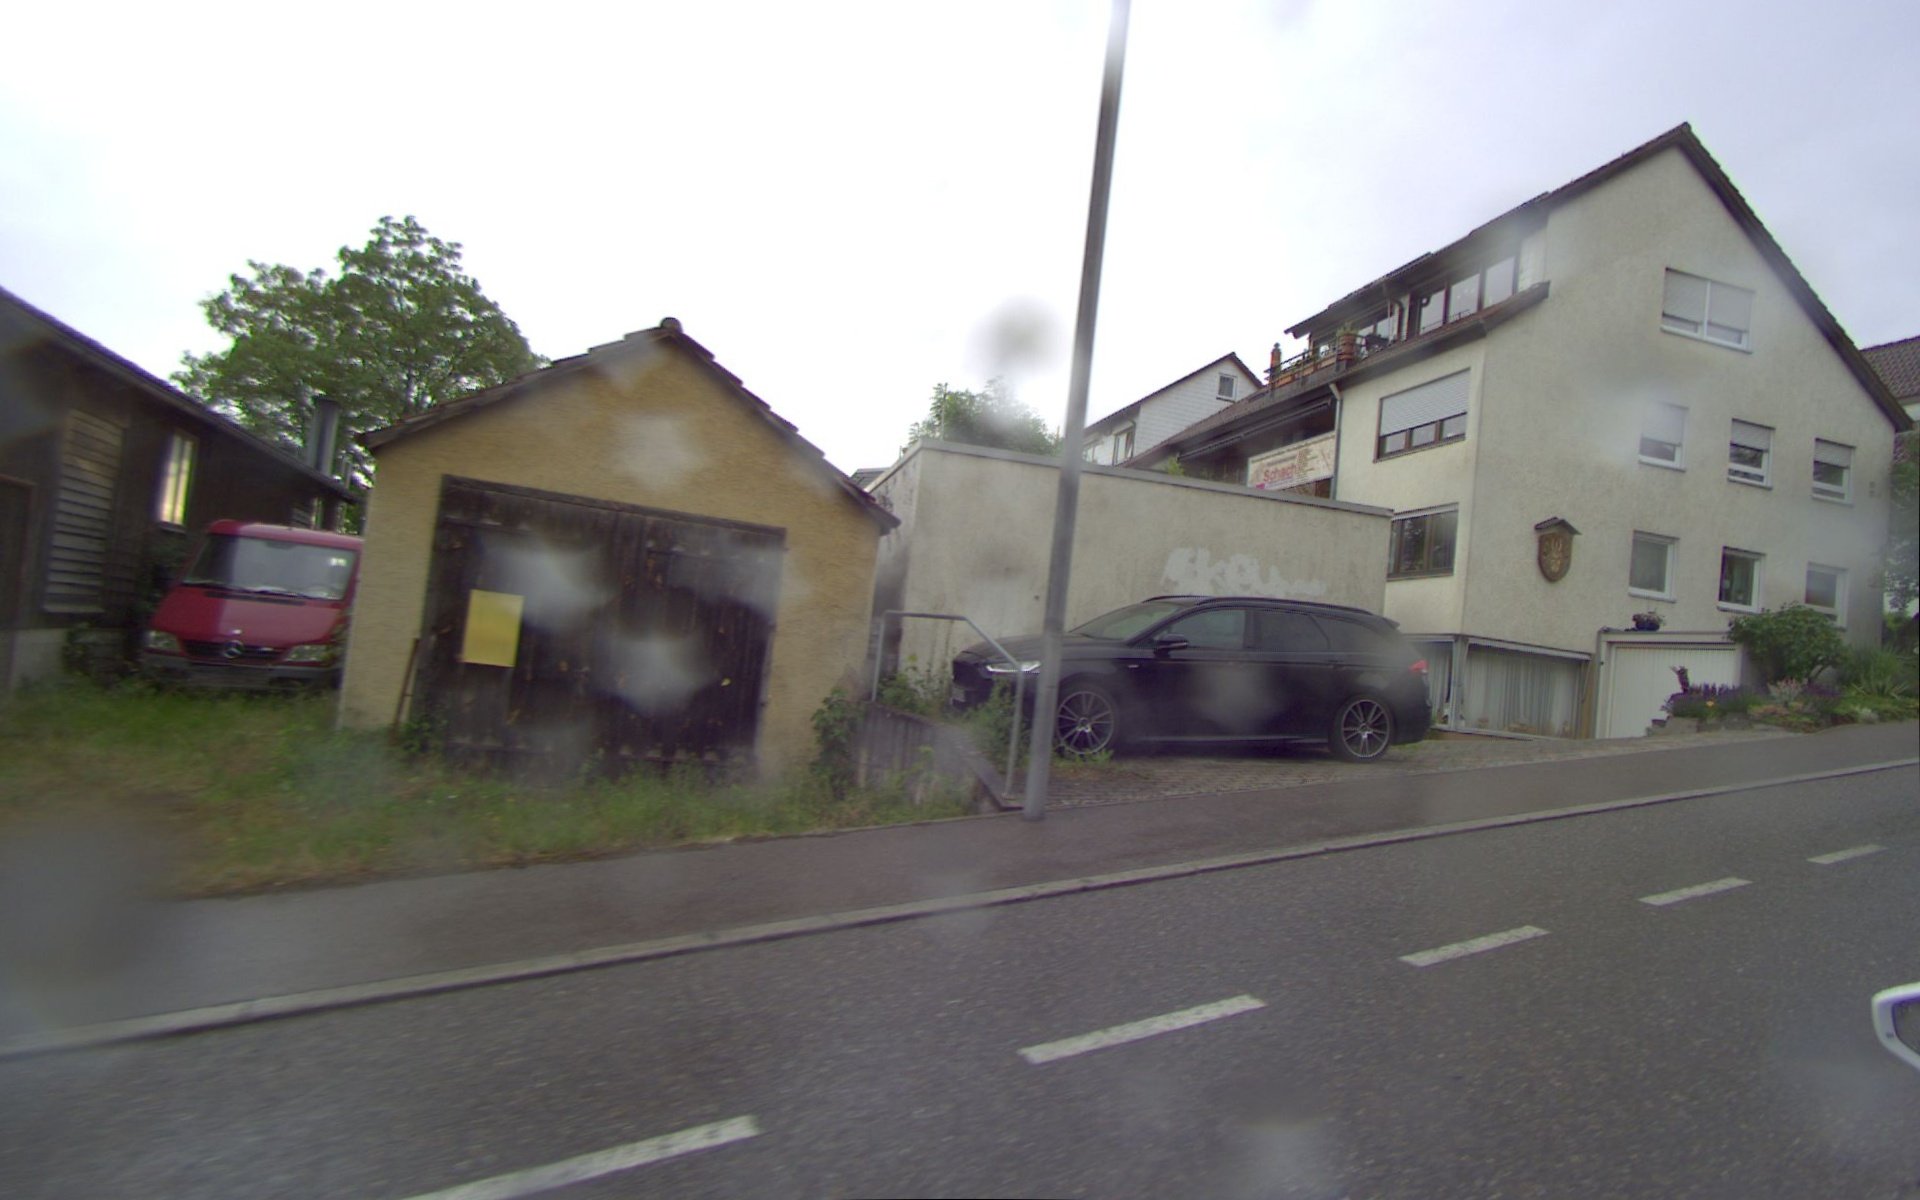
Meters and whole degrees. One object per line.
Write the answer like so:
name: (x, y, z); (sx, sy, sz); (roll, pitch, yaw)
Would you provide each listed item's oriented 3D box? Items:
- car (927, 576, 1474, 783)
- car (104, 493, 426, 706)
car: (2.294, 0.720, 9.826); (4.882, 1.681, 1.974); (1, -1, -17)
car: (-8.446, 0.163, 12.804); (2.029, 2.077, 4.594); (5, -5, -19)
